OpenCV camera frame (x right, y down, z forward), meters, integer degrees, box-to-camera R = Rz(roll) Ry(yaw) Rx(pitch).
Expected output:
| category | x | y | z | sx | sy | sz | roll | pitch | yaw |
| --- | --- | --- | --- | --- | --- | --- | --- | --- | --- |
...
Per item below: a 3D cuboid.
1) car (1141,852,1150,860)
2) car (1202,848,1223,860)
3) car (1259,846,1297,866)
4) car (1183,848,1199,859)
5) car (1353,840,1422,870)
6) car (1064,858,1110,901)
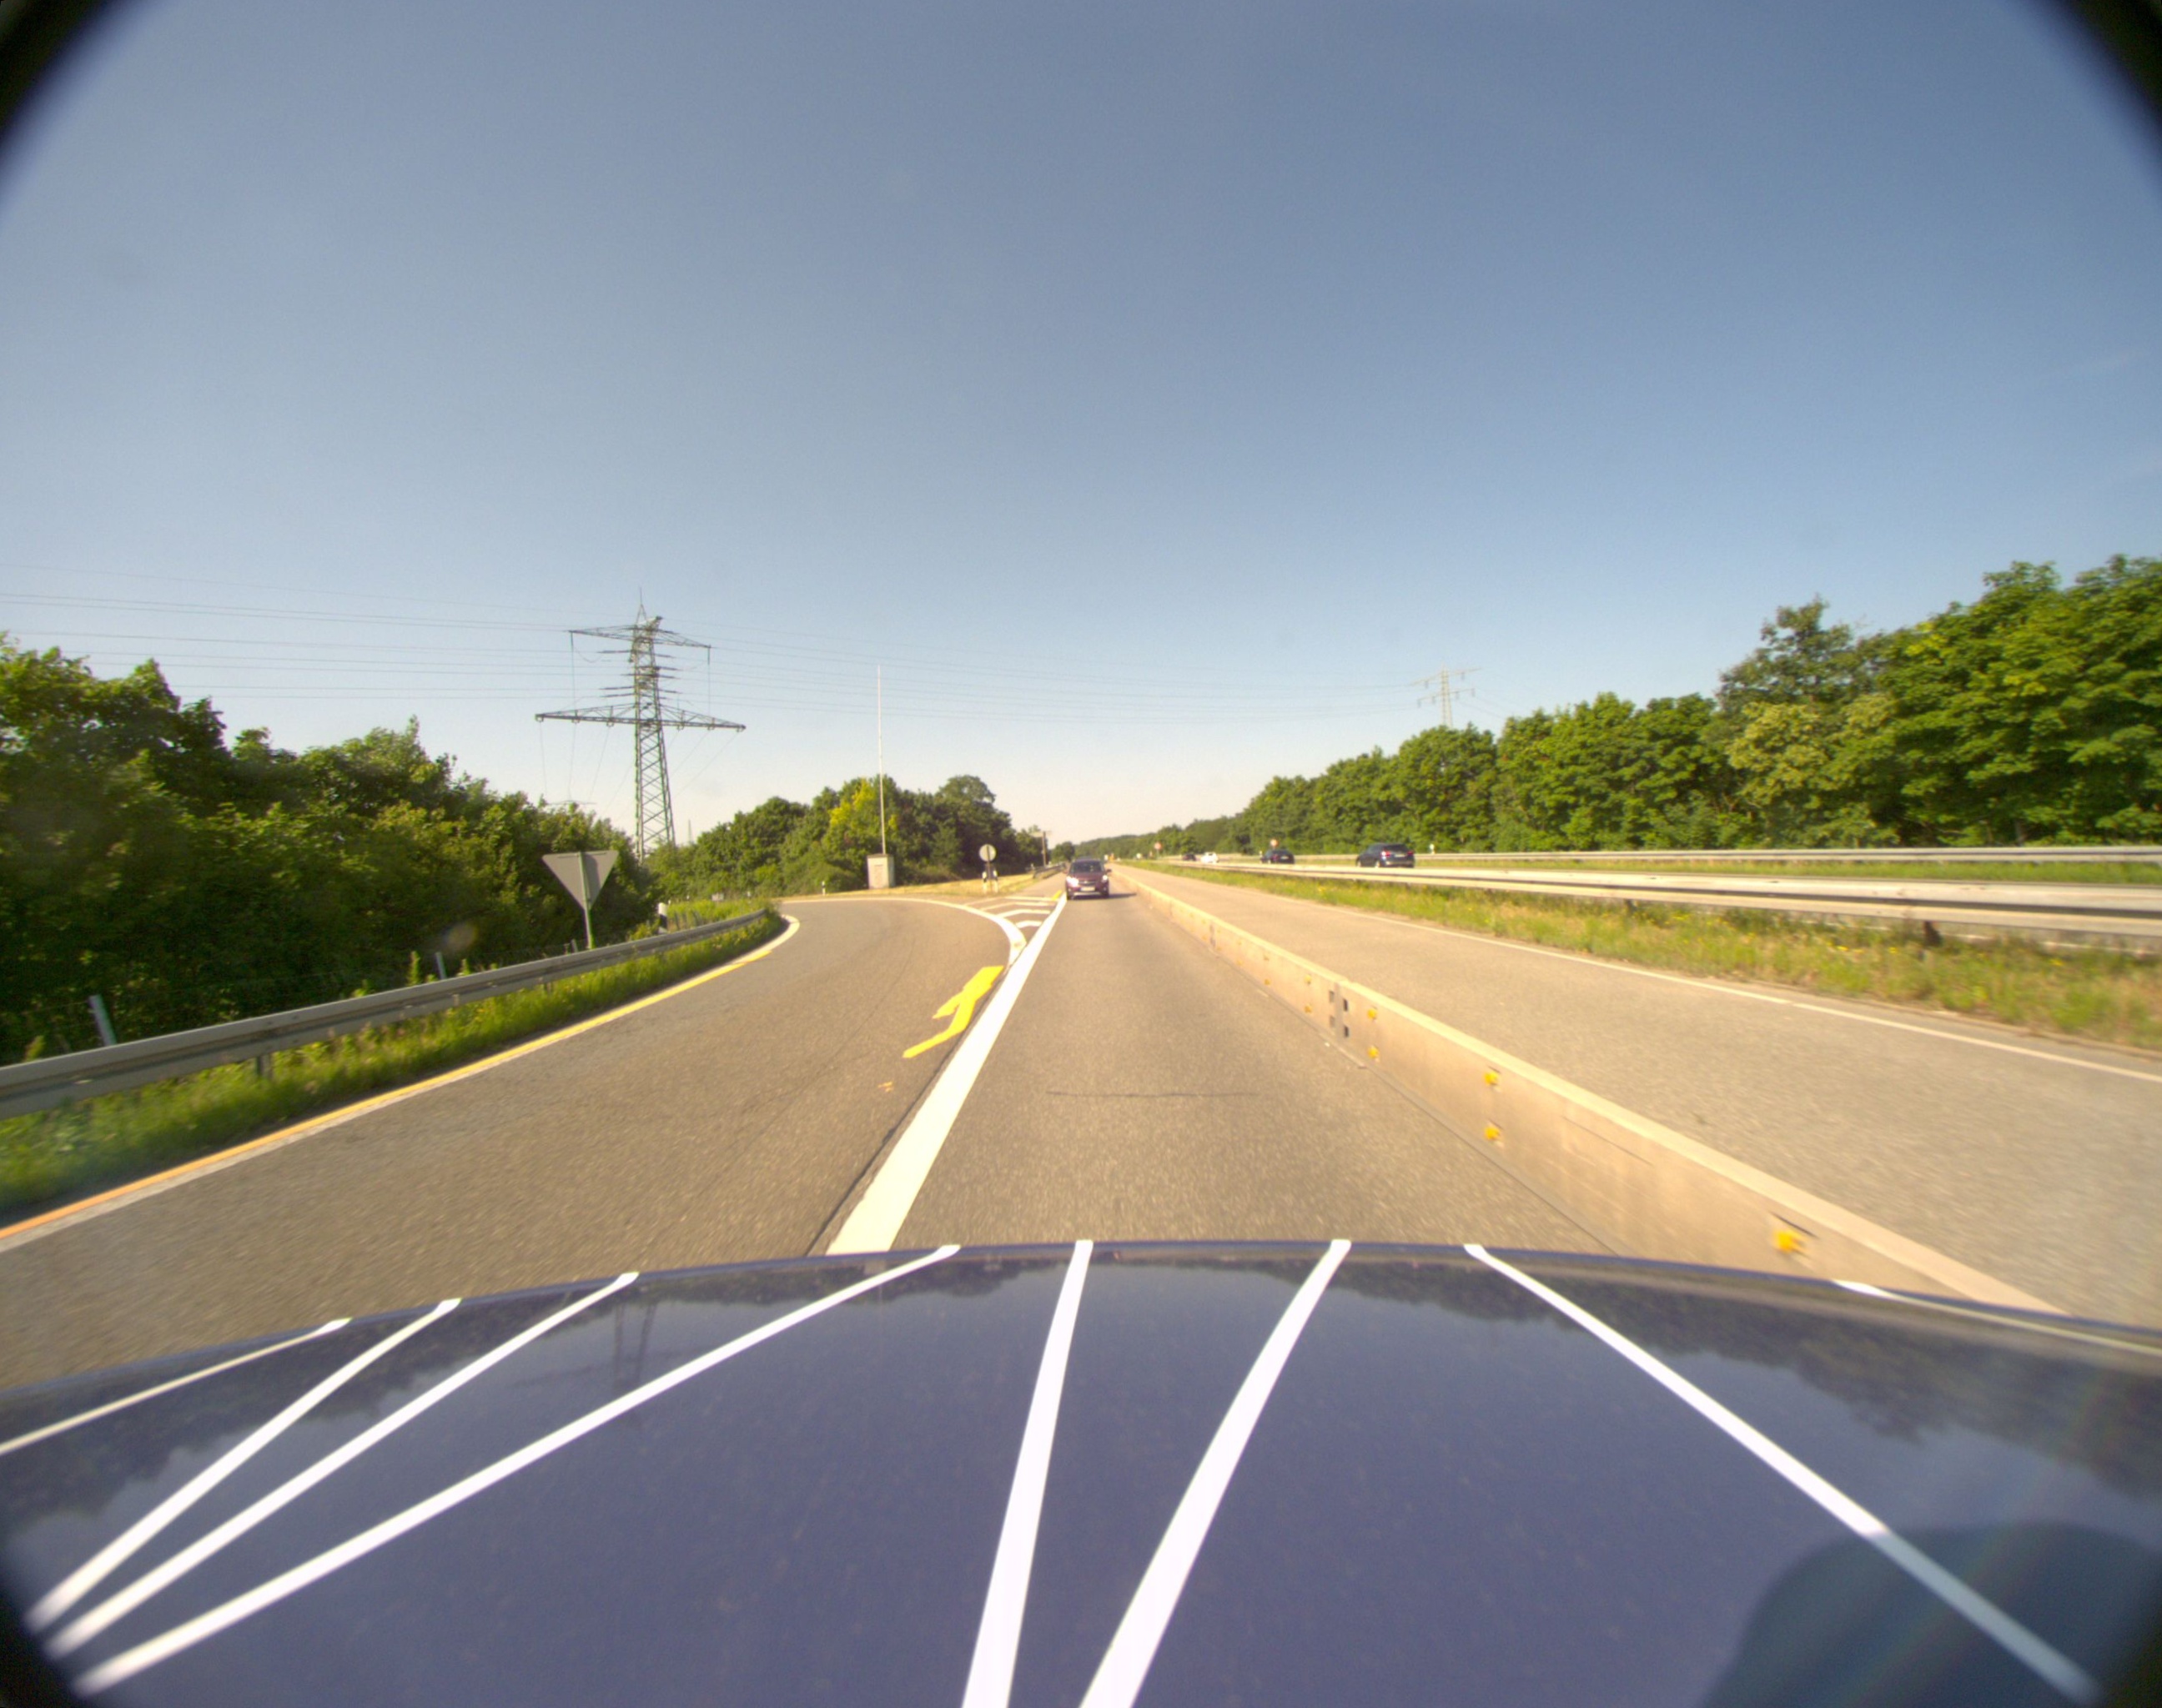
| category | x | y | z | sx | sy | sz | roll | pitch | yaw |
| --- | --- | --- | --- | --- | --- | --- | --- | --- | --- |
| car | 17.649 | 0.636 | 208.738 | 1.999 | 2.022 | 5.168 | -2 | 0 | -1 |
| car | 16.529 | 0.007 | 96.029 | 1.764 | 1.462 | 4.794 | -3 | 0 | 0 |
| car | 15.542 | 0.167 | 60.072 | 1.820 | 1.479 | 5.023 | -1 | 0 | 2 |
| car | 16.486 | -0.061 | 113.831 | 1.743 | 1.485 | 4.109 | -3 | 0 | 0 |
| car | 16.091 | 0.054 | 40.202 | 1.801 | 1.426 | 4.592 | -2 | 0 | 1 |
| car | 0.304 | 0.941 | 29.722 | 1.587 | 1.491 | 4.416 | -2 | -1 | 2 |
